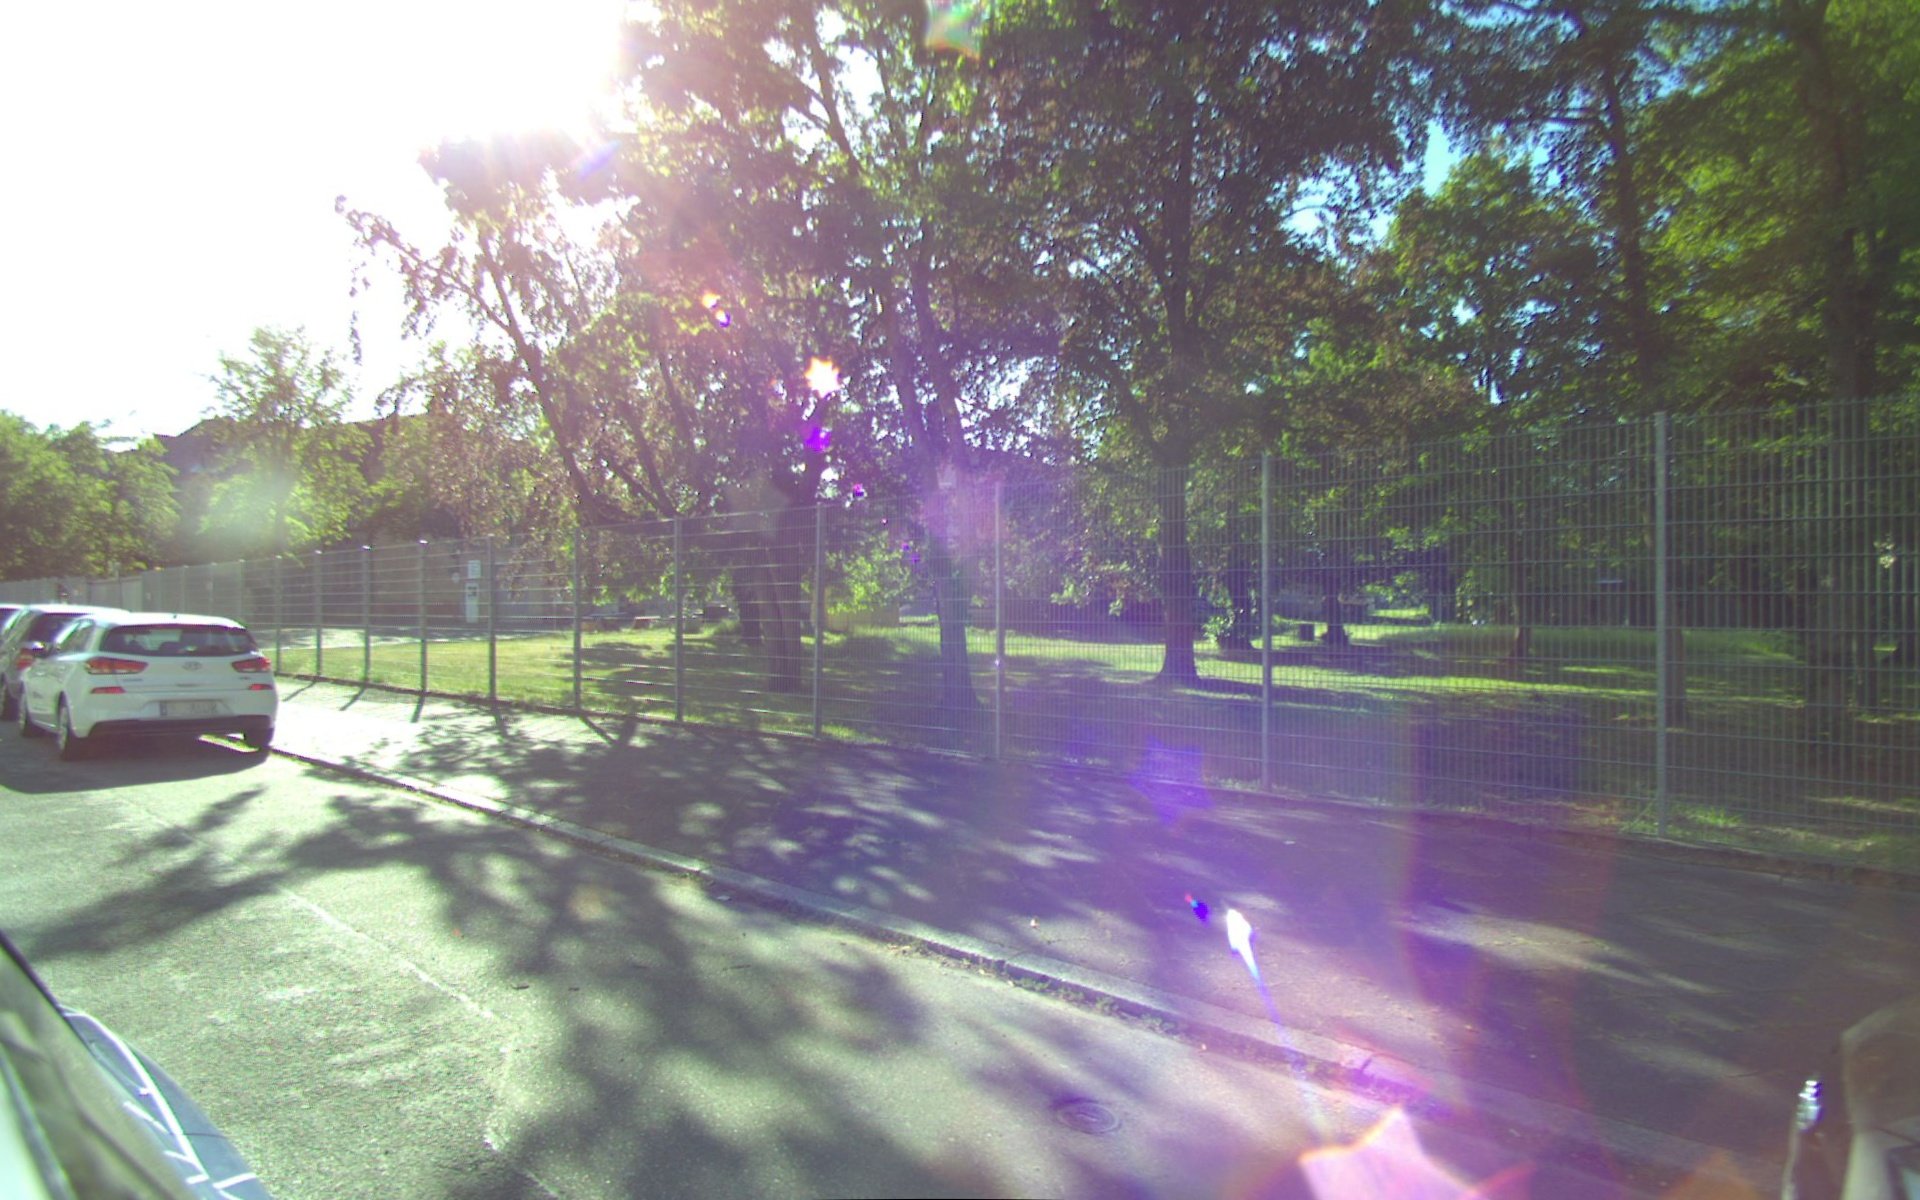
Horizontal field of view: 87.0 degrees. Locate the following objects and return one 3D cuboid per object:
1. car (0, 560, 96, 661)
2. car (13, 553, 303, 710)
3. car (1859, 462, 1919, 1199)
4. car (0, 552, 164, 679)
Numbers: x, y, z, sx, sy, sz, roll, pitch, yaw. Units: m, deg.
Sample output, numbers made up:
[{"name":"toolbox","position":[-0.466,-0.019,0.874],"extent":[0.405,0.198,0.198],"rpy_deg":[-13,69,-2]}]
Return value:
[{"name":"car","position":[-17.209,0.180,18.256],"extent":[4.160,1.676,1.695],"rpy_deg":[0,-2,39]},{"name":"car","position":[-9.146,0.307,11.423],"extent":[4.117,1.456,1.776],"rpy_deg":[0,-1,40]},{"name":"car","position":[3.366,0.550,0.330],"extent":[4.497,1.482,1.776],"rpy_deg":[0,-1,39]},{"name":"car","position":[-13.241,0.234,14.922],"extent":[3.612,1.656,1.548],"rpy_deg":[0,-3,39]}]
